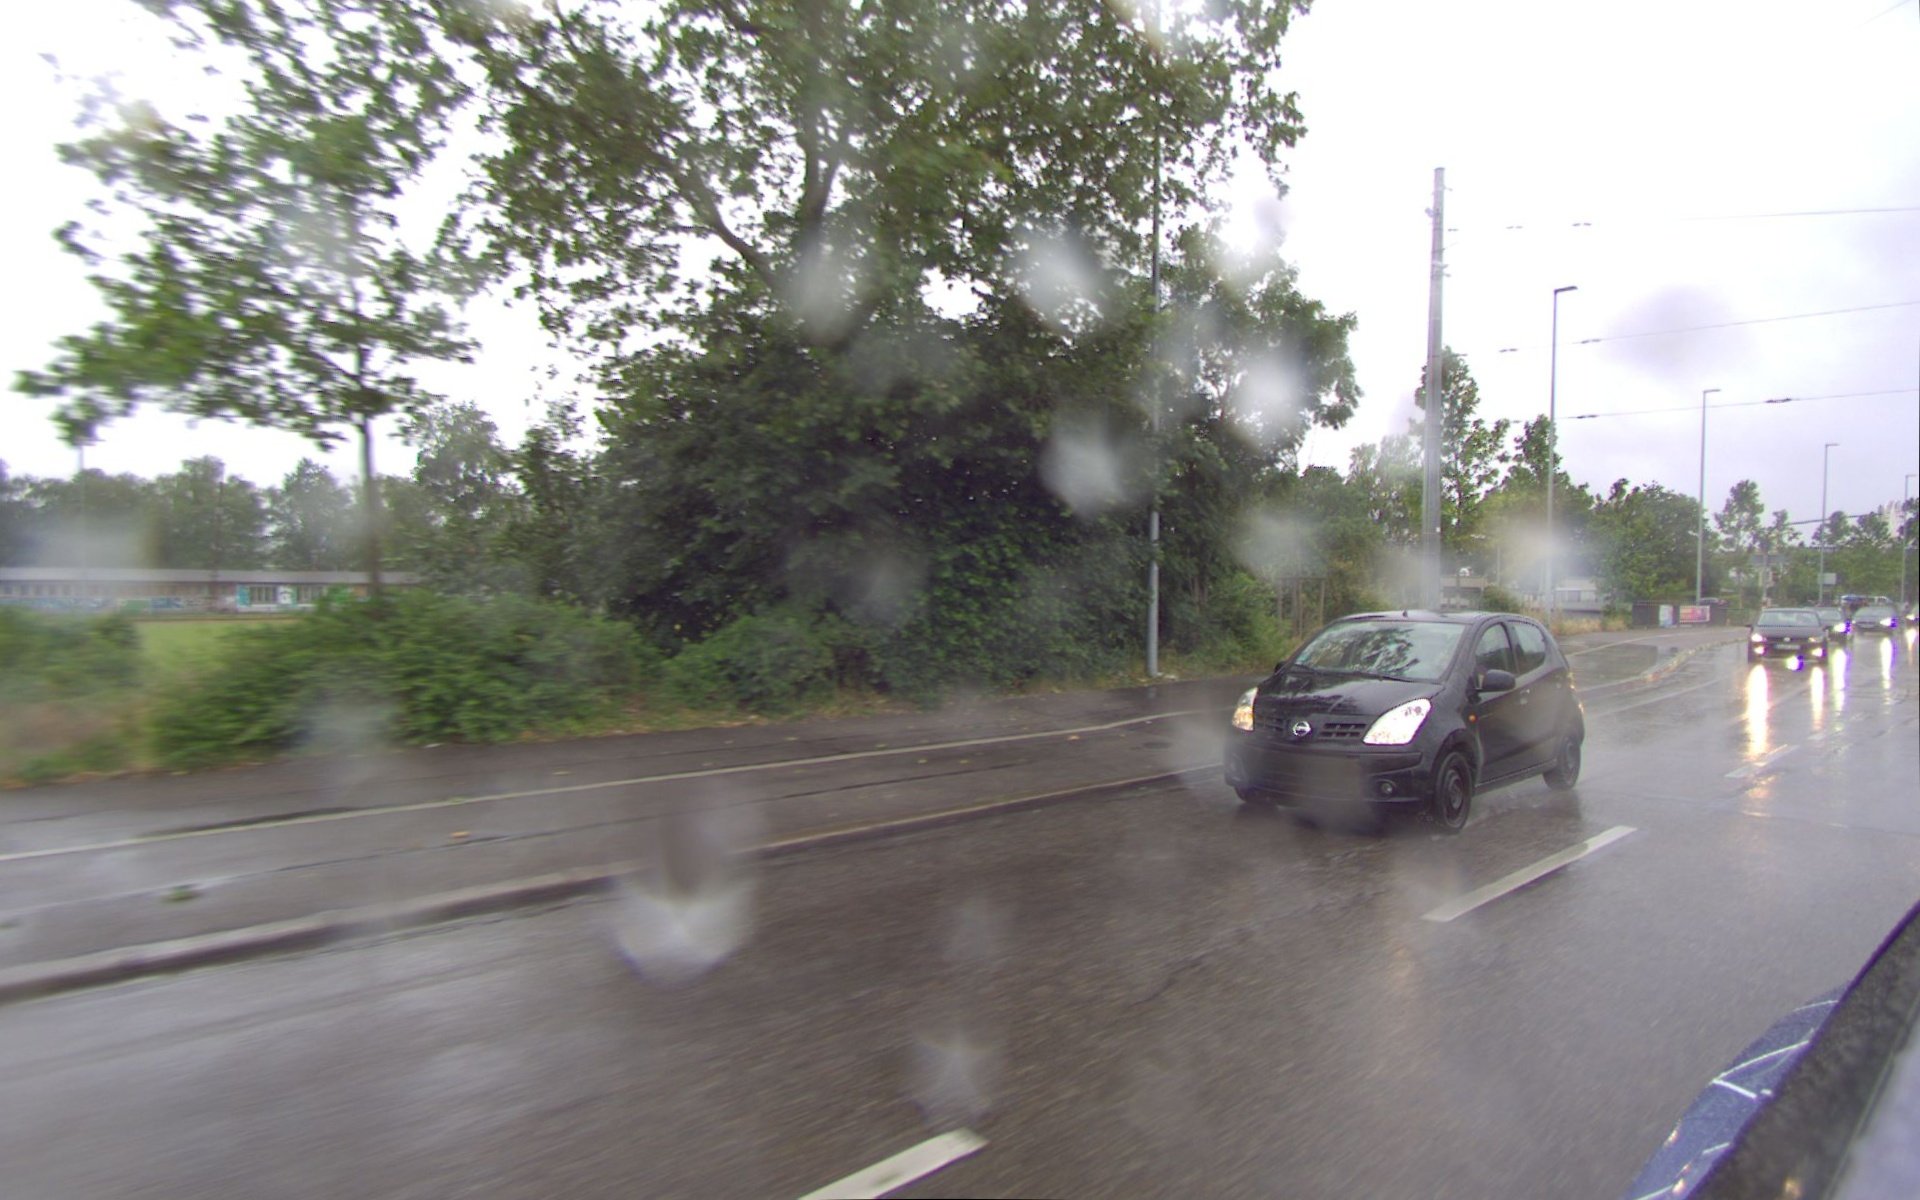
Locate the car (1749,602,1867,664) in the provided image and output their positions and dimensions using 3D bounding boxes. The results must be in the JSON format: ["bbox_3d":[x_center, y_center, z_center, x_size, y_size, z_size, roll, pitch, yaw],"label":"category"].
[{"bbox_3d":[22.581,0.849,26.911,3.970,1.503,1.715,2,-1,-40],"label":"car"}]

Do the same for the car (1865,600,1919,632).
[{"bbox_3d":[48.201,0.825,52.161,4.102,1.544,1.715,2,-1,-40],"label":"car"}]

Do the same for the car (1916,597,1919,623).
[{"bbox_3d":[59.683,0.664,61.611,4.102,1.544,1.715,2,-1,-40],"label":"car"}]

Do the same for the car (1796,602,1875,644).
[{"bbox_3d":[34.305,0.884,39.618,3.970,1.544,1.715,2,-1,-40],"label":"car"}]

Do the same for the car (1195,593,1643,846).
[{"bbox_3d":[3.774,0.738,7.975,4.021,1.480,1.774,2,-1,-42],"label":"car"}]

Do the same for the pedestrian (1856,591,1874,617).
[{"bbox_3d":[57.375,0.231,64.146,0.607,1.631,0.734,0,2,-39],"label":"pedestrian"}]
